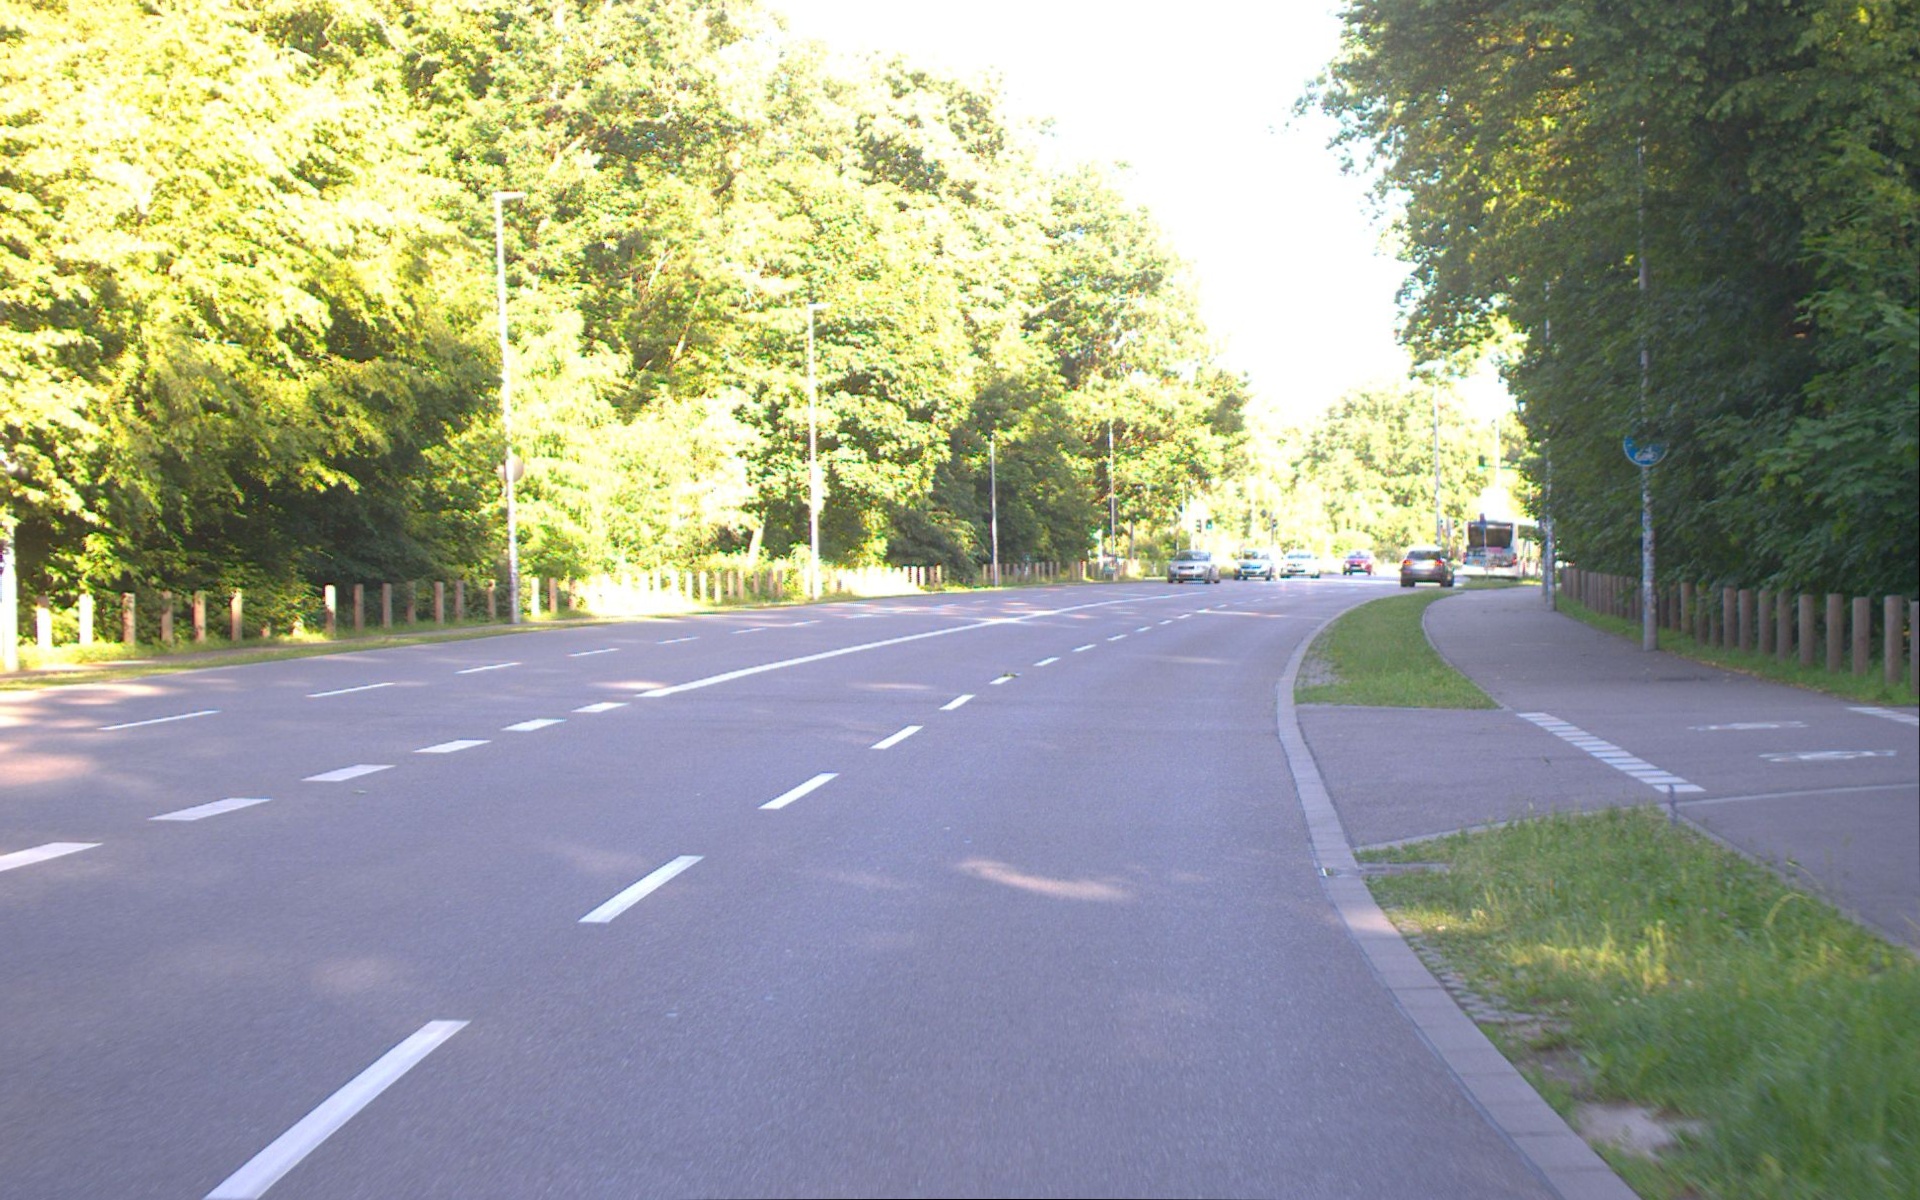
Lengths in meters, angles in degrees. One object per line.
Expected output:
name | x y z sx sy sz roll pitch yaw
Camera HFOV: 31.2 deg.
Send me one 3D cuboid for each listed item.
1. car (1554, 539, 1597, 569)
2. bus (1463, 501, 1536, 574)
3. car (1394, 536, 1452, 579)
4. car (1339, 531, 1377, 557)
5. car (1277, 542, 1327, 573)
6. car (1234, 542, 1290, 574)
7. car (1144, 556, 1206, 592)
car | 35.499 -2.680 198.158 1.865 1.678 3.769 -1 1 19
bus | 25.547 -2.950 162.623 2.607 3.357 7.970 1 1 15
car | 19.191 -1.773 142.441 1.881 1.759 3.997 0 1 15
car | 23.716 -3.357 204.715 1.664 1.513 3.804 0 1 15
car | 17.679 -2.204 177.519 1.784 1.517 4.394 0 1 17
car | 14.202 -1.956 161.685 1.781 1.459 4.271 0 0 17
car | 8.922 -1.095 142.350 1.780 1.403 4.163 0 2 14
